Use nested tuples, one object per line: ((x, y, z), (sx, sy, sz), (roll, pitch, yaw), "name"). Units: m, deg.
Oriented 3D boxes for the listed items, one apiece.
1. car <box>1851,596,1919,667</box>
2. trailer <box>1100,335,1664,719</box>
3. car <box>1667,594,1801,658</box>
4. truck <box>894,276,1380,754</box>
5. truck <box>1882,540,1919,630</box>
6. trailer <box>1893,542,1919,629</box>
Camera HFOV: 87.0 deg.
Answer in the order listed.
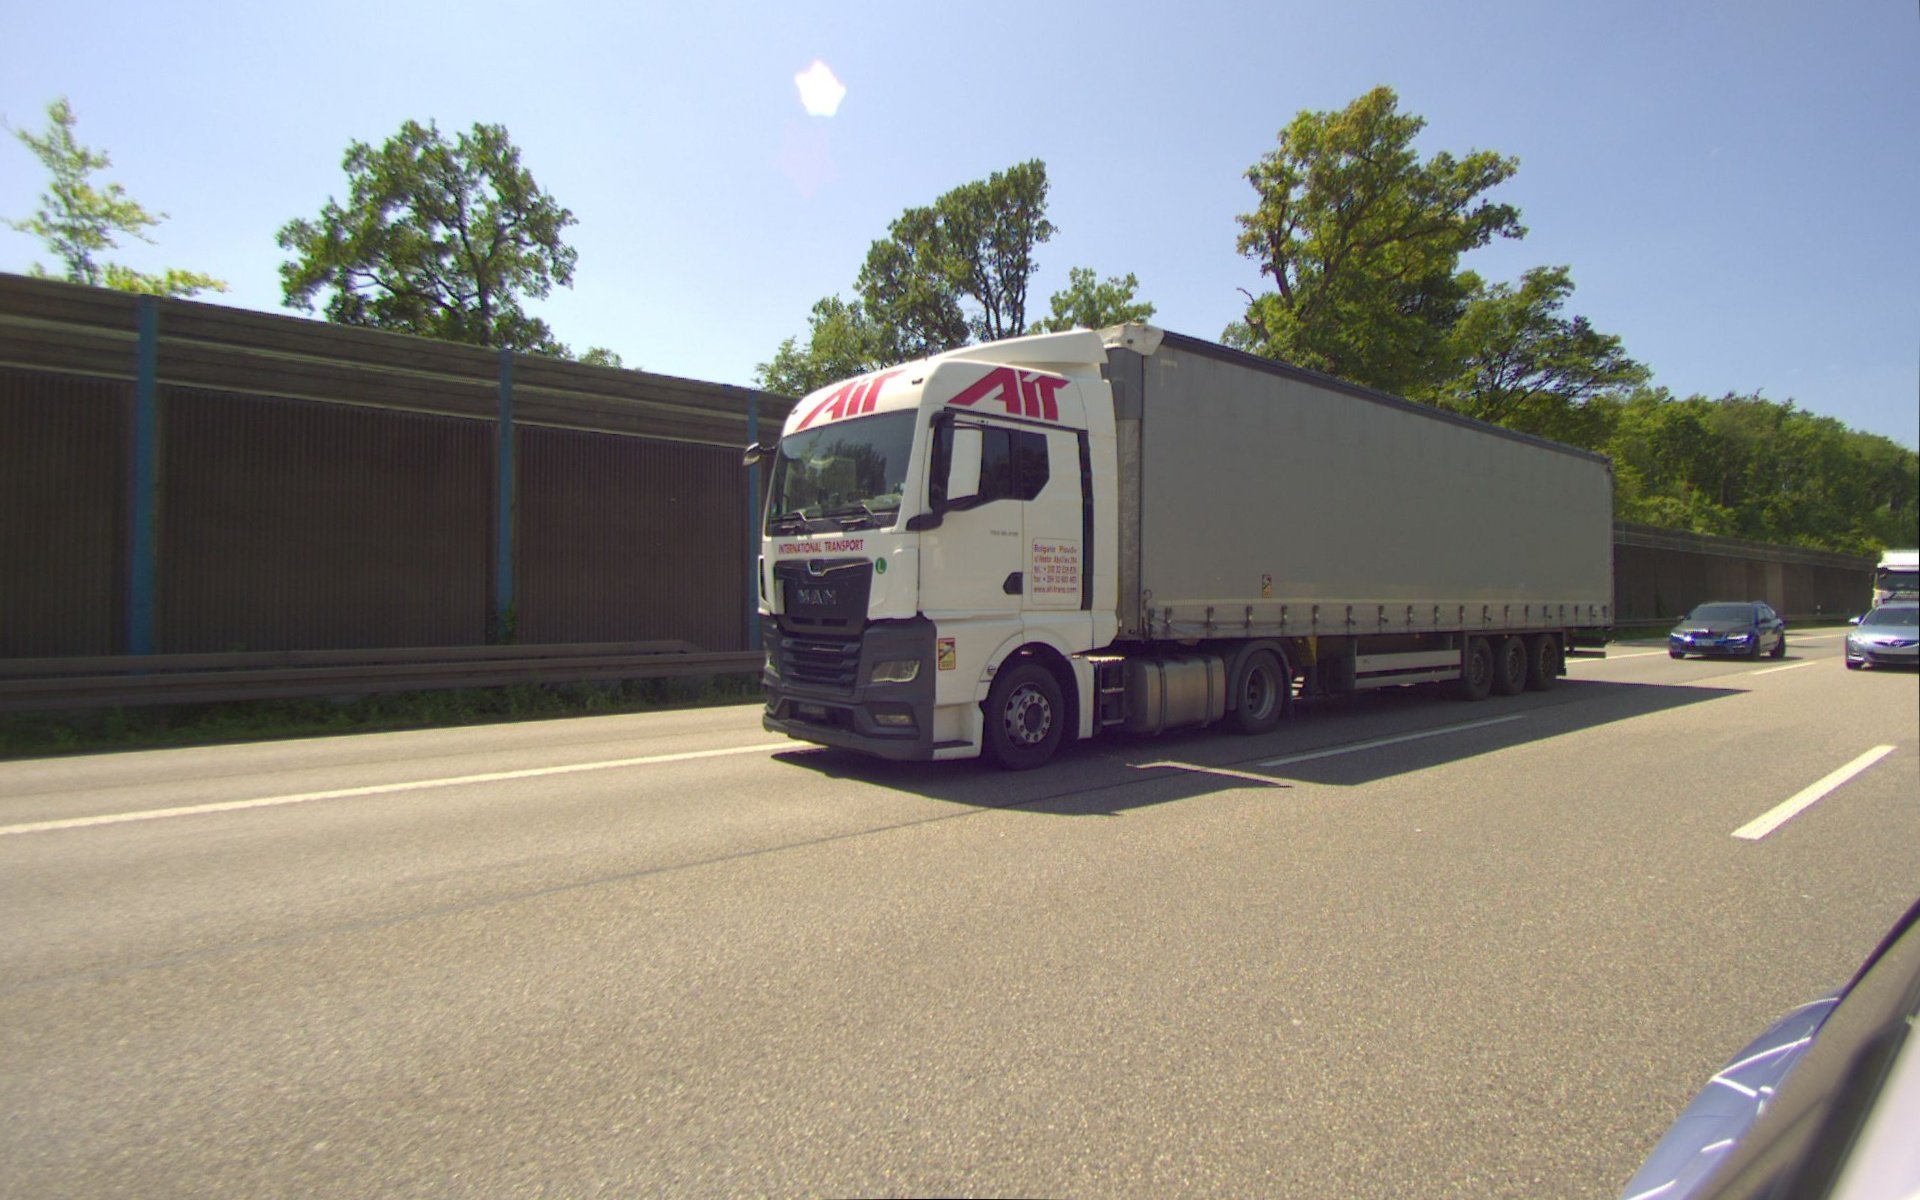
((21.120, 0.647, 22.115), (4.102, 1.452, 1.859), (0, 0, -40), "car")
((7.708, -0.860, 16.260), (13.352, 4.142, 2.603), (-1, 0, -40), "trailer")
((19.865, 0.614, 25.910), (4.102, 1.512, 1.859), (0, 0, -40), "car")
((2.206, -0.770, 11.541), (5.455, 4.142, 2.603), (-1, 0, -41), "truck")
((47.375, -0.708, 49.253), (5.321, 4.269, 2.812), (0, -1, -38), "truck")
((52.628, -0.712, 53.381), (13.217, 4.268, 2.821), (0, -1, -38), "trailer")
